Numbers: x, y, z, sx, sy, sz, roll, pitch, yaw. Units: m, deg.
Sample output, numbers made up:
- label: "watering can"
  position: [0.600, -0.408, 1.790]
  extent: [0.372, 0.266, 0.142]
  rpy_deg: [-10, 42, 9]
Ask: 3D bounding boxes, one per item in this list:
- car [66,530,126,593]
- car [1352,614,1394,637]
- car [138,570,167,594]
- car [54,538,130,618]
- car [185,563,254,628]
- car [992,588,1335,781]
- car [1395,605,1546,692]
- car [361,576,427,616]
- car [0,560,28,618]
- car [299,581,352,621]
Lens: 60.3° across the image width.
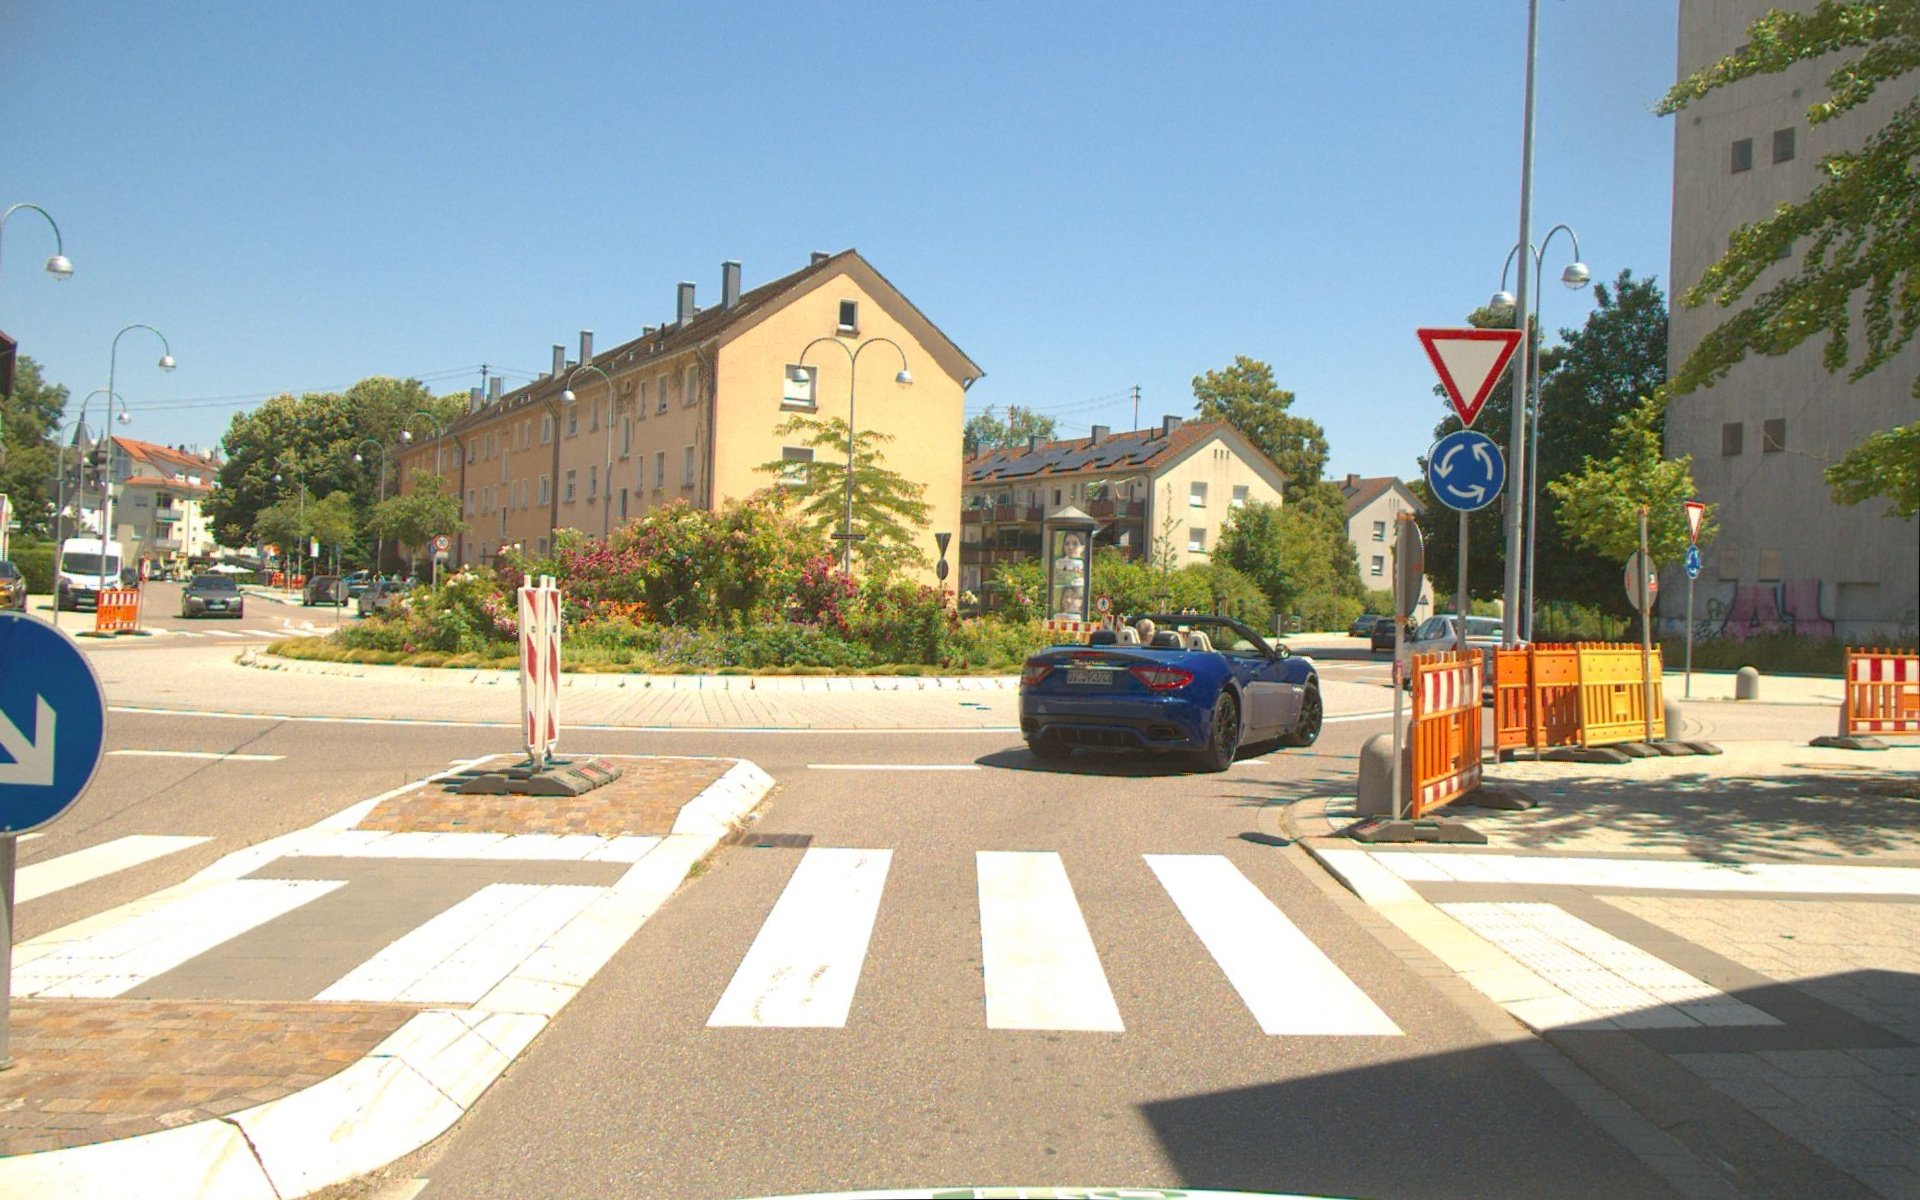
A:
- label: "car"
  position: [-38.534, -1.699, 73.844]
  extent: [2.119, 2.577, 4.813]
  rpy_deg: [4, -1, -27]
- label: "car"
  position: [26.065, 1.596, 104.338]
  extent: [1.705, 1.462, 3.704]
  rpy_deg: [0, -1, 29]
- label: "car"
  position: [-66.627, -1.461, 136.395]
  extent: [1.793, 1.825, 3.960]
  rpy_deg: [4, -2, -30]
- label: "car"
  position: [-30.934, -0.758, 59.085]
  extent: [2.119, 2.577, 6.183]
  rpy_deg: [4, -1, -27]
- label: "car"
  position: [-25.457, -0.149, 56.918]
  extent: [1.967, 2.049, 3.970]
  rpy_deg: [4, -1, -24]
- label: "car"
  position: [2.130, 0.767, 15.987]
  extent: [1.835, 1.557, 4.500]
  rpy_deg: [1, -2, 27]
- label: "car"
  position: [9.180, 0.835, 30.017]
  extent: [1.702, 1.462, 3.711]
  rpy_deg: [0, 0, 2]
- label: "car"
  position: [-23.464, -0.181, 68.528]
  extent: [1.793, 1.526, 3.960]
  rpy_deg: [4, -2, -30]
- label: "car"
  position: [-28.721, -0.371, 48.884]
  extent: [1.578, 1.645, 4.060]
  rpy_deg: [5, -1, -24]
- label: "car"
  position: [-31.680, 0.020, 82.576]
  extent: [1.793, 1.825, 3.960]
  rpy_deg: [4, -2, -30]
